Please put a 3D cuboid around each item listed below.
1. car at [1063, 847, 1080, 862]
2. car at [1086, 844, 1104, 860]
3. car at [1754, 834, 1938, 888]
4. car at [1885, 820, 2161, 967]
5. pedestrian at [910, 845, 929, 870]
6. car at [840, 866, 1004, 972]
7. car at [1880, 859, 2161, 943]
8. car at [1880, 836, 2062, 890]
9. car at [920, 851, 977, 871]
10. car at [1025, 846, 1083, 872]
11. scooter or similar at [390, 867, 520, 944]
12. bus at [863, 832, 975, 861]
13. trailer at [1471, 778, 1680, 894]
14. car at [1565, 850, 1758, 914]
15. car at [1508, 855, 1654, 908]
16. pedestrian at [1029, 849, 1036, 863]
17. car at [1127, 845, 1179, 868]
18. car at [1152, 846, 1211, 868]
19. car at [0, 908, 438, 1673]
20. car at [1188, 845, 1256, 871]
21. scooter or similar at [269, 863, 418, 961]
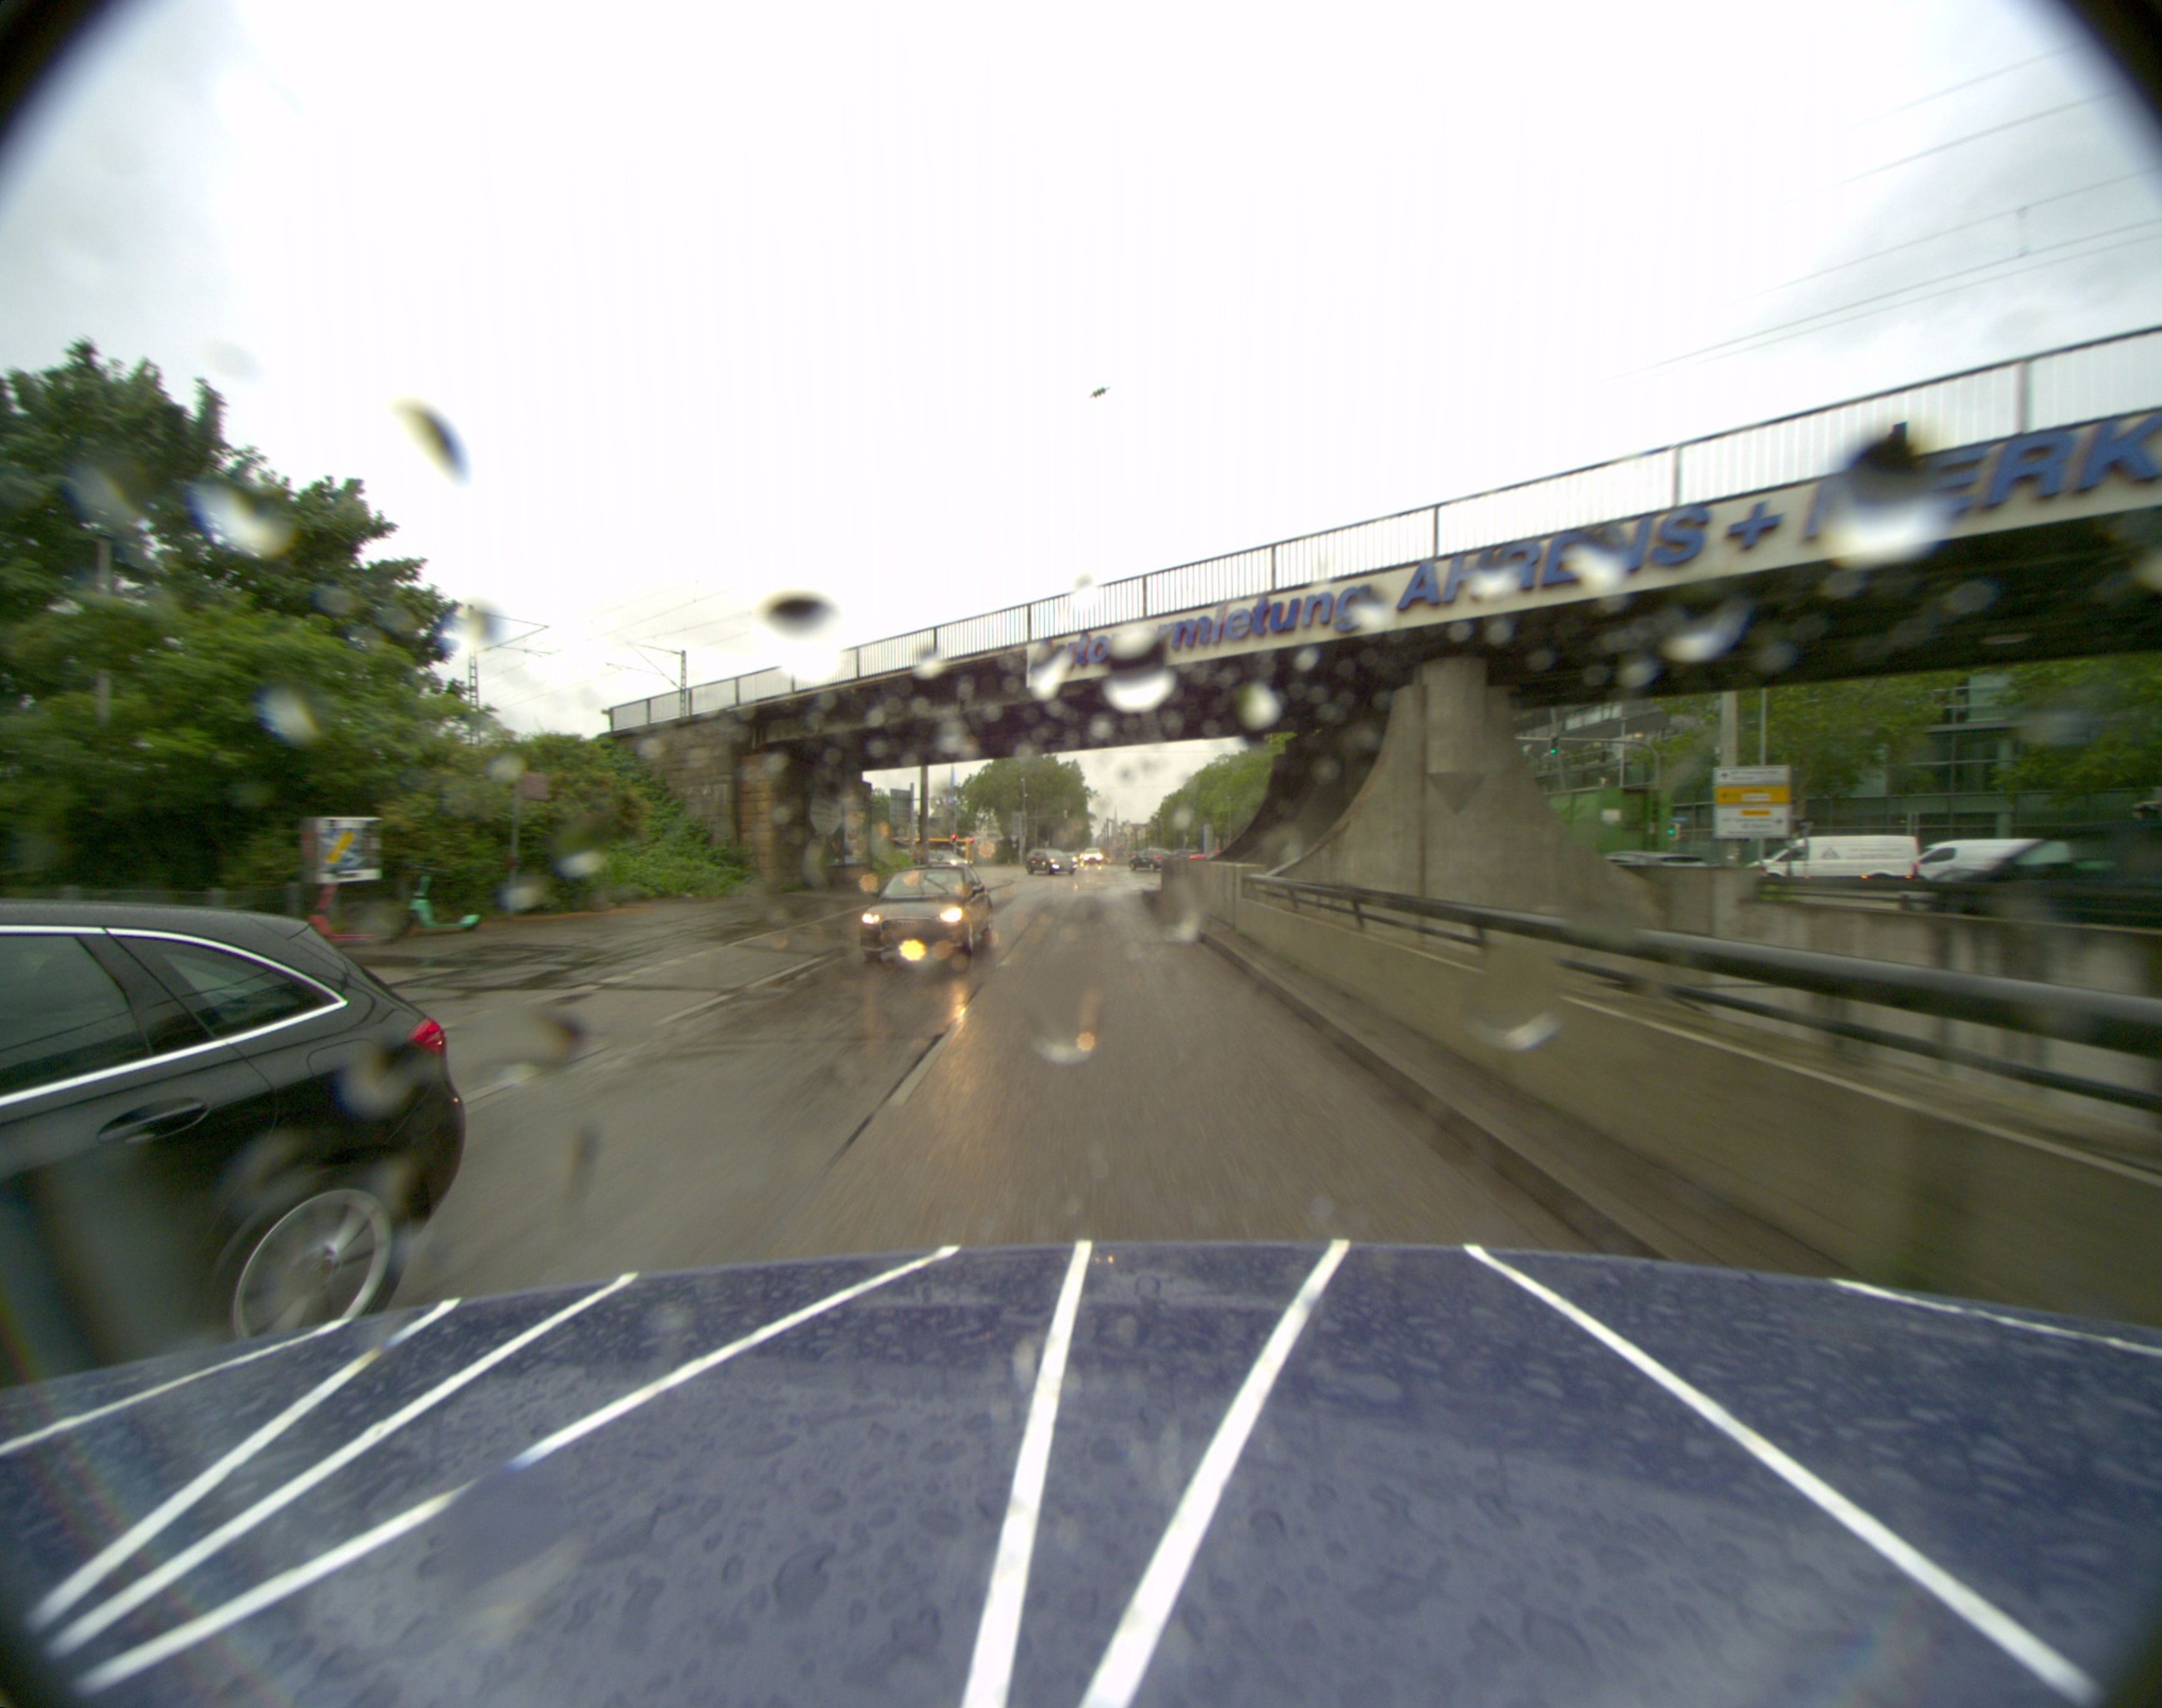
[{"bbox_3d":[-1.107,0.053,90.289,1.932,1.641,4.341,0,1,0],"label":"car"},{"bbox_3d":[1.664,-0.299,92.020,2.076,1.838,4.745,0,1,0],"label":"car"},{"bbox_3d":[36.257,0.275,36.314,5.943,2.420,1.974,1,1,37],"label":"car"},{"bbox_3d":[12.535,0.424,8.120,1.984,1.565,5.539,0,1,0],"label":"car"},{"bbox_3d":[-11.374,0.232,53.504,0.817,1.709,1.007,1,1,28],"label":"pedestrian"},{"bbox_3d":[-2.509,0.986,12.945,1.840,1.390,3.753,-1,1,2],"label":"car"},{"bbox_3d":[21.541,0.967,17.730,1.982,1.565,4.522,1,1,17],"label":"car"},{"bbox_3d":[41.769,0.363,35.904,5.246,2.420,1.974,1,1,37],"label":"car"},{"bbox_3d":[-9.857,0.491,56.455,3.988,1.341,1.902,1,2,37],"label":"car"},{"bbox_3d":[-1.854,0.283,50.636,2.032,1.647,4.050,0,1,-33],"label":"car"},{"bbox_3d":[-10.786,0.852,13.151,0.771,1.172,1.550,3,1,19],"label":"scooter or similar"},{"bbox_3d":[-18.350,-0.883,86.794,12.292,3.250,3.271,0,1,-10],"label":"bus"},{"bbox_3d":[19.091,-0.636,30.223,2.687,3.964,8.519,0,1,0],"label":"trailer"},{"bbox_3d":[16.104,0.703,21.447,1.984,1.565,4.550,0,1,1],"label":"car"},{"bbox_3d":[12.732,0.643,19.599,1.511,1.194,3.442,0,1,1],"label":"car"},{"bbox_3d":[-5.691,0.209,89.373,0.644,1.642,0.626,0,0,9],"label":"pedestrian"},{"bbox_3d":[4.912,0.137,52.219,1.662,1.537,3.990,0,1,-27],"label":"car"},{"bbox_3d":[7.344,0.186,56.128,1.749,1.477,4.672,-1,1,-32],"label":"car"},{"bbox_3d":[-3.224,0.973,0.614,1.875,1.515,4.087,0,1,1],"label":"car"},{"bbox_3d":[8.347,0.207,45.353,1.824,1.444,3.989,0,1,-31],"label":"car"},{"bbox_3d":[-11.132,0.826,11.511,0.708,1.304,1.561,7,5,41],"label":"scooter or similar"}]
